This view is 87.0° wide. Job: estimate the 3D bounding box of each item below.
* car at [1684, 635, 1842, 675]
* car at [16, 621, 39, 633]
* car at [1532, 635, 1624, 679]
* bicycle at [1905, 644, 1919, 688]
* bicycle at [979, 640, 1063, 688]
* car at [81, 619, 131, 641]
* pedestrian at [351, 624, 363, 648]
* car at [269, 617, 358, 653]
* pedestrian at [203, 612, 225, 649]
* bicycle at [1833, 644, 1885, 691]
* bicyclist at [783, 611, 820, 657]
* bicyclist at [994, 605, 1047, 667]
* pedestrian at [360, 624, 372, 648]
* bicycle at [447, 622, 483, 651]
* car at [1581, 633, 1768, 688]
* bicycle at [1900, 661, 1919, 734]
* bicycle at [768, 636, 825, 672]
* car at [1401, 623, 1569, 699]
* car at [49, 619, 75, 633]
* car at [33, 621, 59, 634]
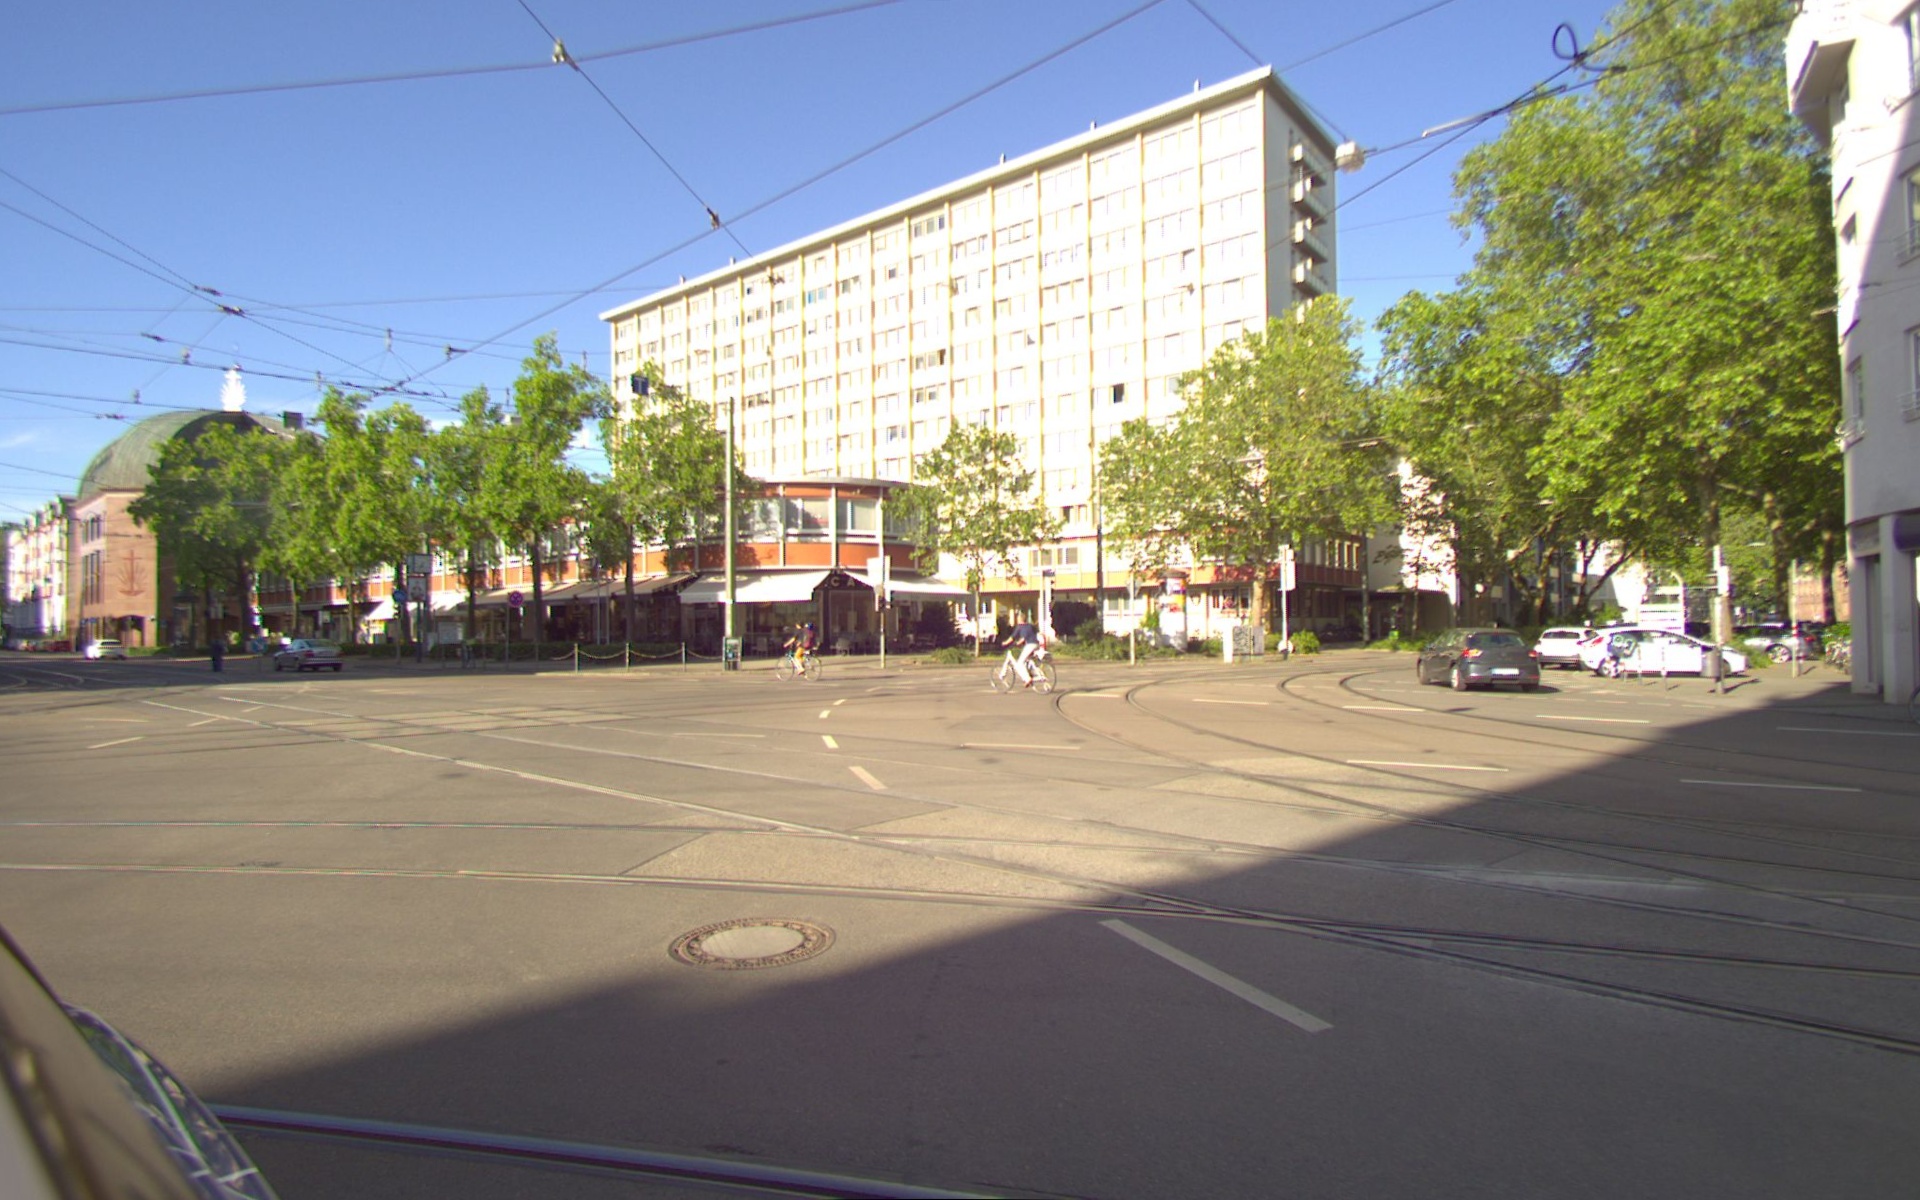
[{"bbox_3d":[29.375,1.984,37.111,4.402,1.345,1.973,-2,-2,41],"label":"car"},{"bbox_3d":[-119.091,3.510,129.183,3.852,1.465,1.831,-3,-2,42],"label":"car"},{"bbox_3d":[21.889,1.998,35.798,3.948,1.414,1.805,1,-4,-45],"label":"car"},{"bbox_3d":[27.207,1.855,28.248,0.597,1.243,2.862,-4,-3,32],"label":"bicycle"},{"bbox_3d":[1.311,1.367,21.944,1.853,0.980,0.588,-1,-2,41],"label":"bicycle"},{"bbox_3d":[-59.191,2.120,70.121,4.499,1.463,1.973,-2,-3,40],"label":"car"},{"bbox_3d":[-45.209,2.699,75.919,0.706,1.785,0.566,-3,-3,43],"label":"pedestrian"},{"bbox_3d":[-28.076,1.546,43.887,4.647,1.463,1.973,-2,-3,40],"label":"car"},{"bbox_3d":[-30.777,1.267,41.750,0.859,1.529,0.494,-3,-5,42],"label":"pedestrian"},{"bbox_3d":[25.805,1.919,29.095,0.597,1.243,2.862,-4,-3,32],"label":"bicycle"},{"bbox_3d":[-4.540,0.969,28.893,0.927,1.295,0.582,-1,-2,43],"label":"bicyclist"},{"bbox_3d":[1.302,0.777,21.926,0.991,1.295,0.582,-1,-2,40],"label":"bicyclist"},{"bbox_3d":[-44.787,2.708,76.353,0.706,1.764,0.566,-3,-3,43],"label":"pedestrian"},{"bbox_3d":[-20.574,1.518,42.061,2.234,1.195,0.492,-3,-3,41],"label":"bicycle"},{"bbox_3d":[20.280,1.742,28.972,4.083,1.414,1.786,-4,-3,28],"label":"car"},{"bbox_3d":[13.709,1.322,13.207,0.585,0.980,2.018,2,-2,-30],"label":"bicycle"},{"bbox_3d":[-4.698,1.529,29.006,1.817,0.980,0.587,-1,-2,43],"label":"bicycle"},{"bbox_3d":[12.139,1.357,23.737,1.973,1.608,3.996,0,-2,3],"label":"car"},{"bbox_3d":[-99.383,2.868,112.005,3.469,1.465,1.731,-2,-2,41],"label":"car"},{"bbox_3d":[-106.912,3.184,118.355,3.852,1.465,1.831,-3,-2,42],"label":"car"}]
